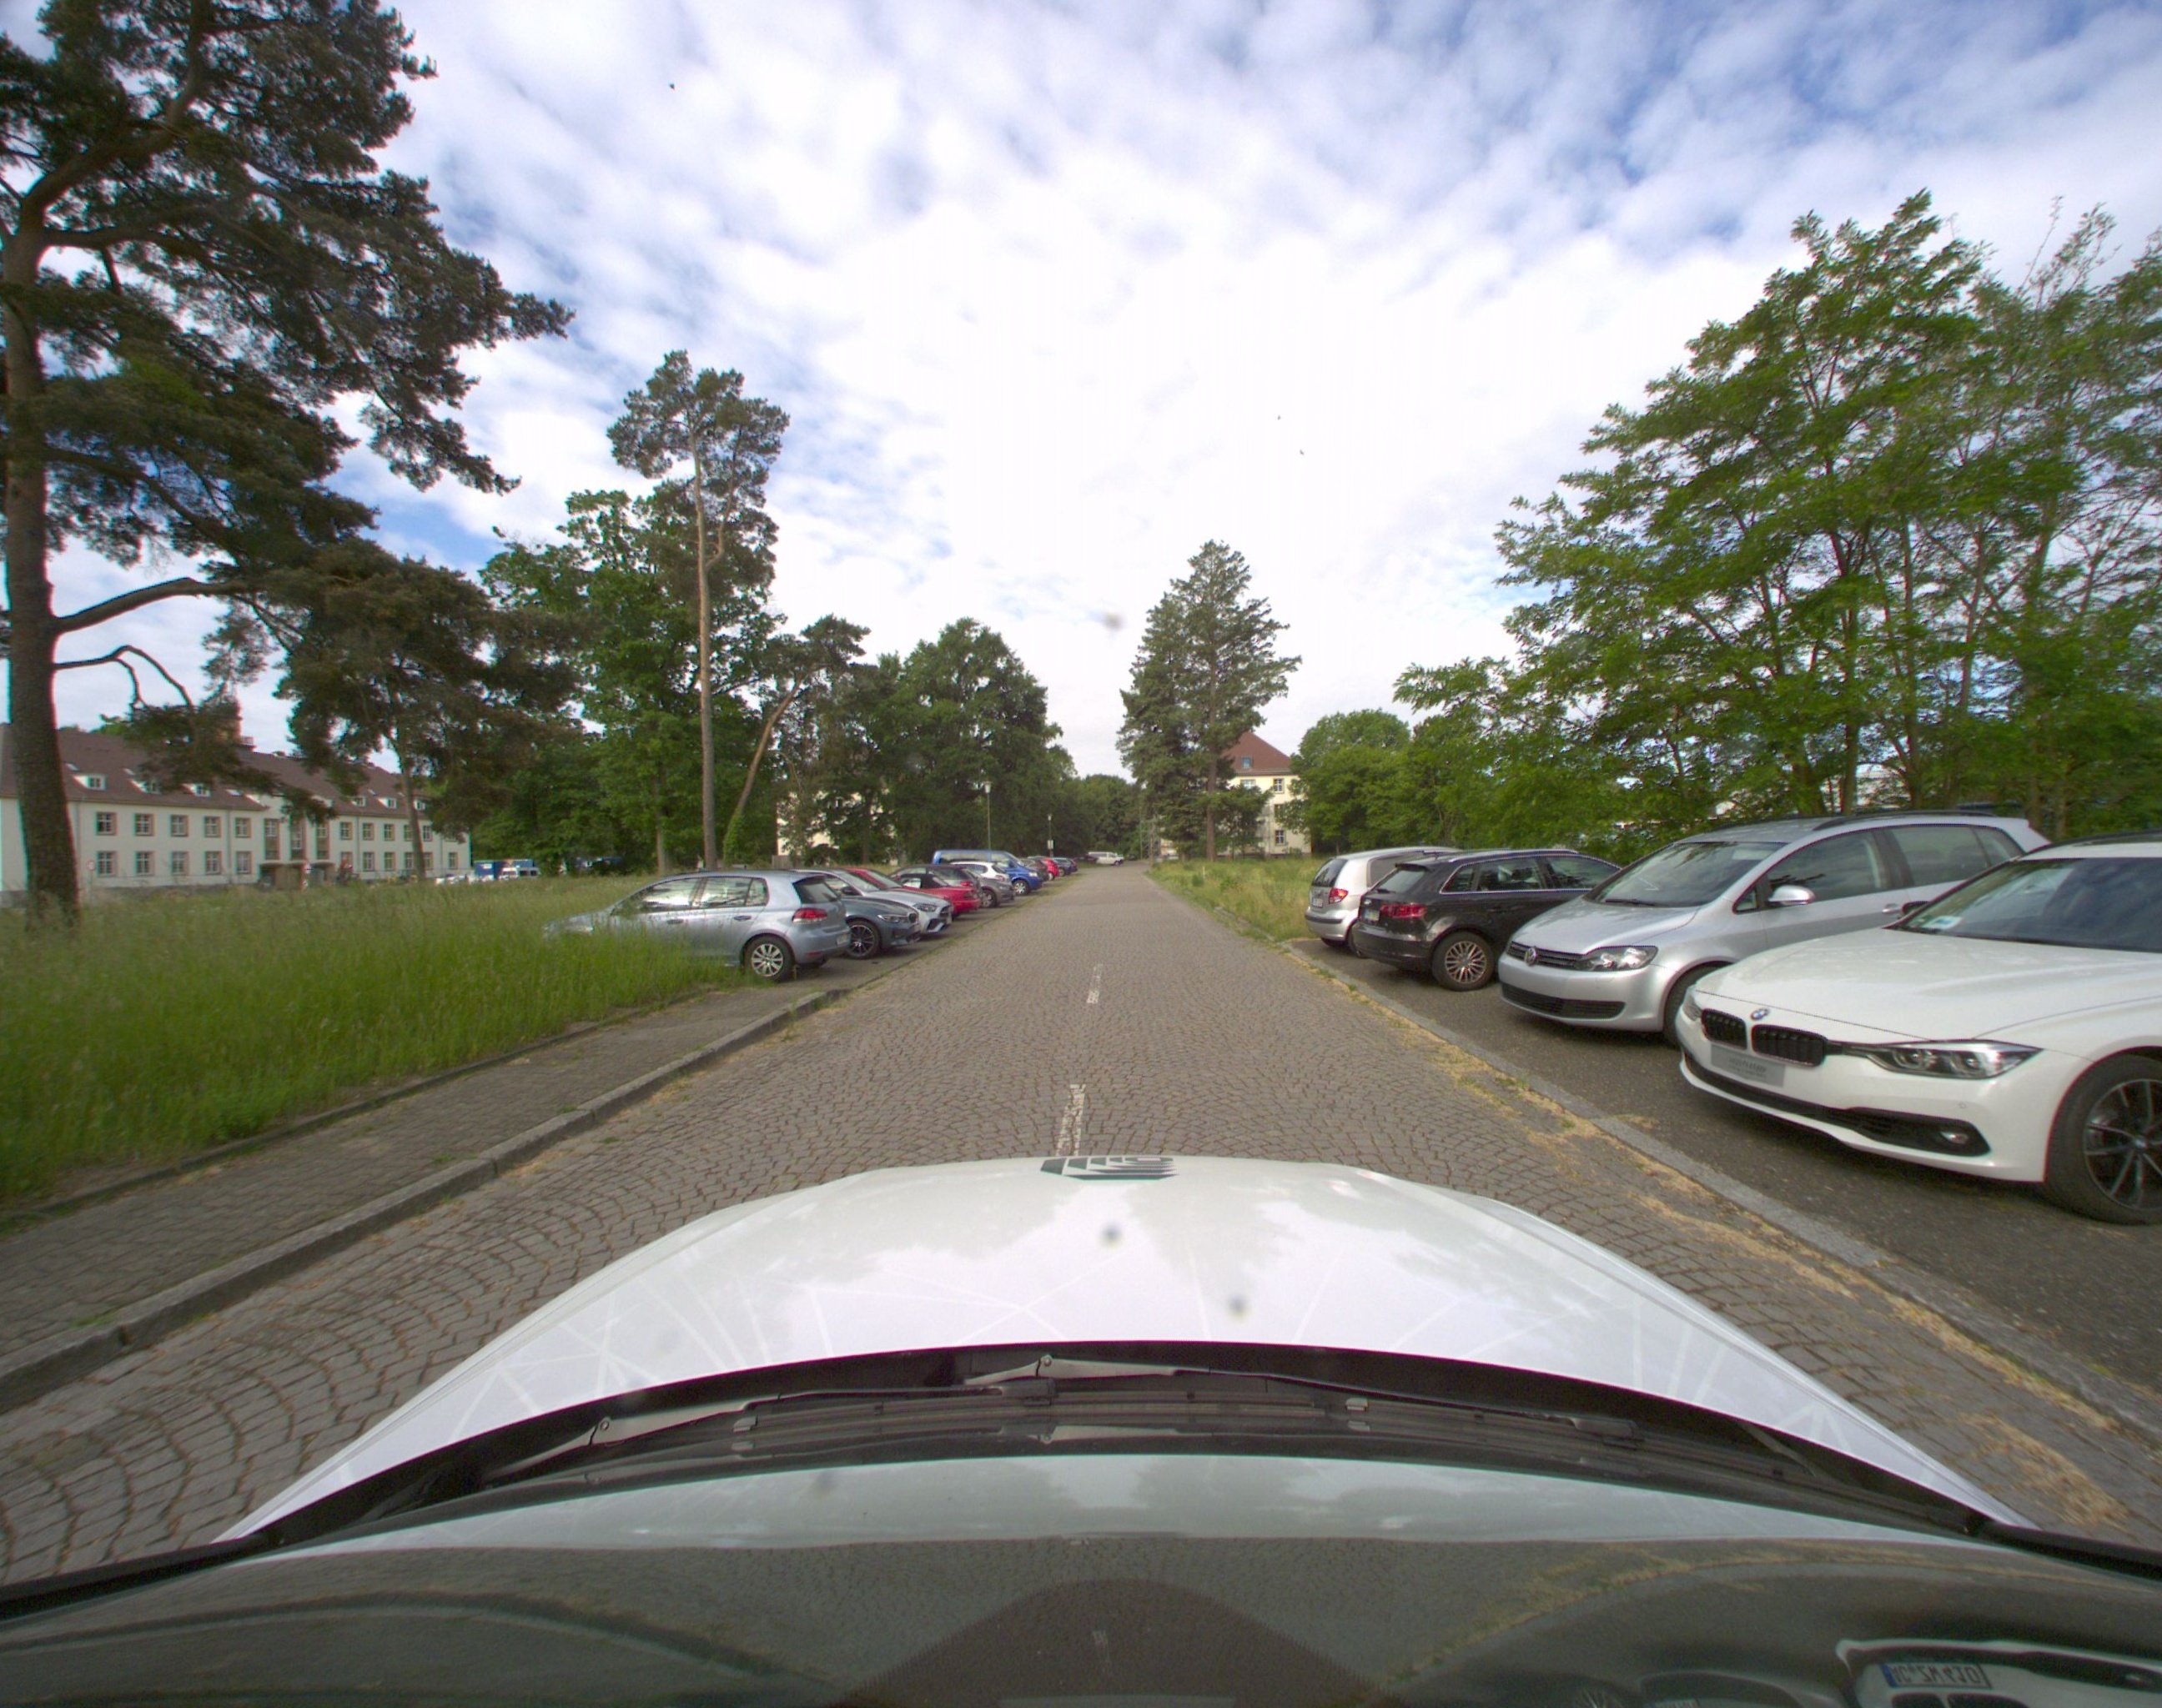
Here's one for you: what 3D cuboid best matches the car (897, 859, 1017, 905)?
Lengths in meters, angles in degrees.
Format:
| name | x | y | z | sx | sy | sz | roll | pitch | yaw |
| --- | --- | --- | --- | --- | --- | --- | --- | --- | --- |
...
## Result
| name | x | y | z | sx | sy | sz | roll | pitch | yaw |
| --- | --- | --- | --- | --- | --- | --- | --- | --- | --- |
| car | -4.496 | 1.007 | 29.936 | 3.988 | 1.501 | 1.844 | -1 | 0 | 3 |

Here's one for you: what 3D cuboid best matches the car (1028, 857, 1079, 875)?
| name | x | y | z | sx | sy | sz | roll | pitch | yaw |
| --- | --- | --- | --- | --- | --- | --- | --- | --- | --- |
| car | -2.312 | 1.021 | 69.342 | 4.051 | 1.467 | 1.628 | -1 | 0 | 5 |

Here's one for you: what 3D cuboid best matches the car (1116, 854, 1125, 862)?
| name | x | y | z | sx | sy | sz | roll | pitch | yaw |
| --- | --- | --- | --- | --- | --- | --- | --- | --- | --- |
| car | 8.943 | 0.819 | 184.130 | 1.784 | 1.636 | 4.061 | -2 | -2 | 1 |

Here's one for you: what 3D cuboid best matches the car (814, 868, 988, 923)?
| name | x | y | z | sx | sy | sz | roll | pitch | yaw |
| --- | --- | --- | --- | --- | --- | --- | --- | --- | --- |
| car | -4.674 | 1.064 | 21.503 | 4.115 | 1.283 | 1.765 | -1 | 0 | 2 |

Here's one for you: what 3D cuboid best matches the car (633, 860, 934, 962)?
| name | x | y | z | sx | sy | sz | roll | pitch | yaw |
| --- | --- | --- | --- | --- | --- | --- | --- | --- | --- |
| car | -4.977 | 0.932 | 14.128 | 4.488 | 1.537 | 1.869 | -1 | -1 | -1 |

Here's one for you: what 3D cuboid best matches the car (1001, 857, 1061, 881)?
| name | x | y | z | sx | sy | sz | roll | pitch | yaw |
| --- | --- | --- | --- | --- | --- | --- | --- | --- | --- |
| car | -3.320 | 0.987 | 54.411 | 3.802 | 1.489 | 1.788 | -1 | 0 | 1 |

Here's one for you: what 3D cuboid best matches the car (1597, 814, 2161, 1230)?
| name | x | y | z | sx | sy | sz | roll | pitch | yaw |
| --- | --- | --- | --- | --- | --- | --- | --- | --- | --- |
| car | 5.453 | 0.556 | 4.078 | 4.536 | 1.425 | 1.826 | -4 | -1 | -1 |

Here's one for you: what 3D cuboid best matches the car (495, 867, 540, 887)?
| name | x | y | z | sx | sy | sz | roll | pitch | yaw |
| --- | --- | --- | --- | --- | --- | --- | --- | --- | --- |
| car | -64.699 | 2.612 | 93.569 | 2.054 | 2.095 | 4.347 | -3 | -2 | 2 |

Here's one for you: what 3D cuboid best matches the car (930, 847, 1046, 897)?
| name | x | y | z | sx | sy | sz | roll | pitch | yaw |
| --- | --- | --- | --- | --- | --- | --- | --- | --- | --- |
| car | -3.944 | 0.759 | 35.225 | 4.692 | 1.980 | 2.039 | -1 | 0 | 1 |

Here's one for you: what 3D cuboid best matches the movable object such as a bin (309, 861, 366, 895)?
| name | x | y | z | sx | sy | sz | roll | pitch | yaw |
| --- | --- | --- | --- | --- | --- | --- | --- | --- | --- |
| movable object such as a bin | -85.939 | 2.759 | 94.112 | 6.065 | 3.642 | 2.152 | -2 | -2 | 19 |

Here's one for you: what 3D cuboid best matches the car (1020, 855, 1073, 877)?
| name | x | y | z | sx | sy | sz | roll | pitch | yaw |
| --- | --- | --- | --- | --- | --- | --- | --- | --- | --- |
| car | -2.717 | 0.917 | 64.654 | 4.057 | 1.604 | 1.788 | -1 | 0 | 0 |

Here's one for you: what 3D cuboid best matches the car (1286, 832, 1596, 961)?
| name | x | y | z | sx | sy | sz | roll | pitch | yaw |
| --- | --- | --- | --- | --- | --- | --- | --- | --- | --- |
| car | 5.171 | 0.573 | 12.059 | 3.761 | 1.479 | 1.742 | -4 | 1 | -1 |

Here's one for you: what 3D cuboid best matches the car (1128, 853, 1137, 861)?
| name | x | y | z | sx | sy | sz | roll | pitch | yaw |
| --- | --- | --- | --- | --- | --- | --- | --- | --- | --- |
| car | 11.568 | 0.695 | 184.372 | 1.784 | 1.720 | 4.061 | -2 | -2 | 1 |

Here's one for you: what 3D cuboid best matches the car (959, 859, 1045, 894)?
| name | x | y | z | sx | sy | sz | roll | pitch | yaw |
| --- | --- | --- | --- | --- | --- | --- | --- | --- | --- |
| car | -3.624 | 1.012 | 37.808 | 3.781 | 1.493 | 1.726 | -1 | 0 | 0 |

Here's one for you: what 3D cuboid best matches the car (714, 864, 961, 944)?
| name | x | y | z | sx | sy | sz | roll | pitch | yaw |
| --- | --- | --- | --- | --- | --- | --- | --- | --- | --- |
| car | -4.896 | 0.984 | 16.813 | 4.418 | 1.455 | 1.951 | -1 | -1 | 3 |

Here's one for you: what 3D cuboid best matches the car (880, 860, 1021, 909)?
| name | x | y | z | sx | sy | sz | roll | pitch | yaw |
| --- | --- | --- | --- | --- | --- | --- | --- | --- | --- |
| car | -4.277 | 0.989 | 27.061 | 4.286 | 1.480 | 1.733 | -1 | 0 | 3 |

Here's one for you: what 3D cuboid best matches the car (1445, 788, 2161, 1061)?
| name | x | y | z | sx | sy | sz | roll | pitch | yaw |
| --- | --- | --- | --- | --- | --- | --- | --- | --- | --- |
| car | 5.572 | 0.481 | 6.654 | 4.320 | 1.574 | 1.825 | -4 | -1 | -3 |

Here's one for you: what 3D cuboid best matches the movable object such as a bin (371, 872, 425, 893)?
| name | x | y | z | sx | sy | sz | roll | pitch | yaw |
| --- | --- | --- | --- | --- | --- | --- | --- | --- | --- |
| movable object such as a bin | -80.027 | 3.291 | 95.406 | 4.483 | 2.254 | 2.384 | -2 | -2 | 7 |

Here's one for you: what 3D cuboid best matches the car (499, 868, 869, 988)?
| name | x | y | z | sx | sy | sz | roll | pitch | yaw |
| --- | --- | --- | --- | --- | --- | --- | --- | --- | --- |
| car | -5.434 | 0.981 | 11.511 | 4.310 | 1.470 | 1.829 | -1 | -1 | 3 |

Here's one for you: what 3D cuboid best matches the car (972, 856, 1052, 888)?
| name | x | y | z | sx | sy | sz | roll | pitch | yaw |
| --- | --- | --- | --- | --- | --- | --- | --- | --- | --- |
| car | -3.684 | 0.955 | 44.097 | 4.053 | 1.575 | 1.955 | -1 | 0 | 1 |

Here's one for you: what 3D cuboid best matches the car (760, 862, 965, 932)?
| name | x | y | z | sx | sy | sz | roll | pitch | yaw |
| --- | --- | --- | --- | --- | --- | --- | --- | --- | --- |
| car | -5.033 | 0.981 | 19.129 | 4.237 | 1.455 | 1.856 | -1 | 0 | 2 |

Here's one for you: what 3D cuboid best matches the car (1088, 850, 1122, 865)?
| name | x | y | z | sx | sy | sz | roll | pitch | yaw |
| --- | --- | --- | --- | --- | --- | --- | --- | --- | --- |
| car | 3.459 | 0.527 | 118.191 | 4.960 | 2.073 | 2.052 | -1 | -2 | 1 |

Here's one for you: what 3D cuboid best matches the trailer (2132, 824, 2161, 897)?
| name | x | y | z | sx | sy | sz | roll | pitch | yaw |
| --- | --- | --- | --- | --- | --- | --- | --- | --- | --- |
| trailer | 18.497 | 0.083 | 12.855 | 2.305 | 1.170 | 1.144 | -1 | -1 | 0 |

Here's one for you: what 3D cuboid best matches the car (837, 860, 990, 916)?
| name | x | y | z | sx | sy | sz | roll | pitch | yaw |
| --- | --- | --- | --- | --- | --- | --- | --- | --- | --- |
| car | -4.909 | 0.989 | 24.194 | 4.070 | 1.480 | 1.757 | -1 | 0 | 3 |

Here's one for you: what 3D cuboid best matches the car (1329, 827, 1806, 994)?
| name | x | y | z | sx | sy | sz | roll | pitch | yaw |
| --- | --- | --- | --- | --- | --- | --- | --- | --- | --- |
| car | 5.324 | 0.574 | 9.350 | 4.351 | 1.406 | 1.797 | -4 | 1 | 0 |
